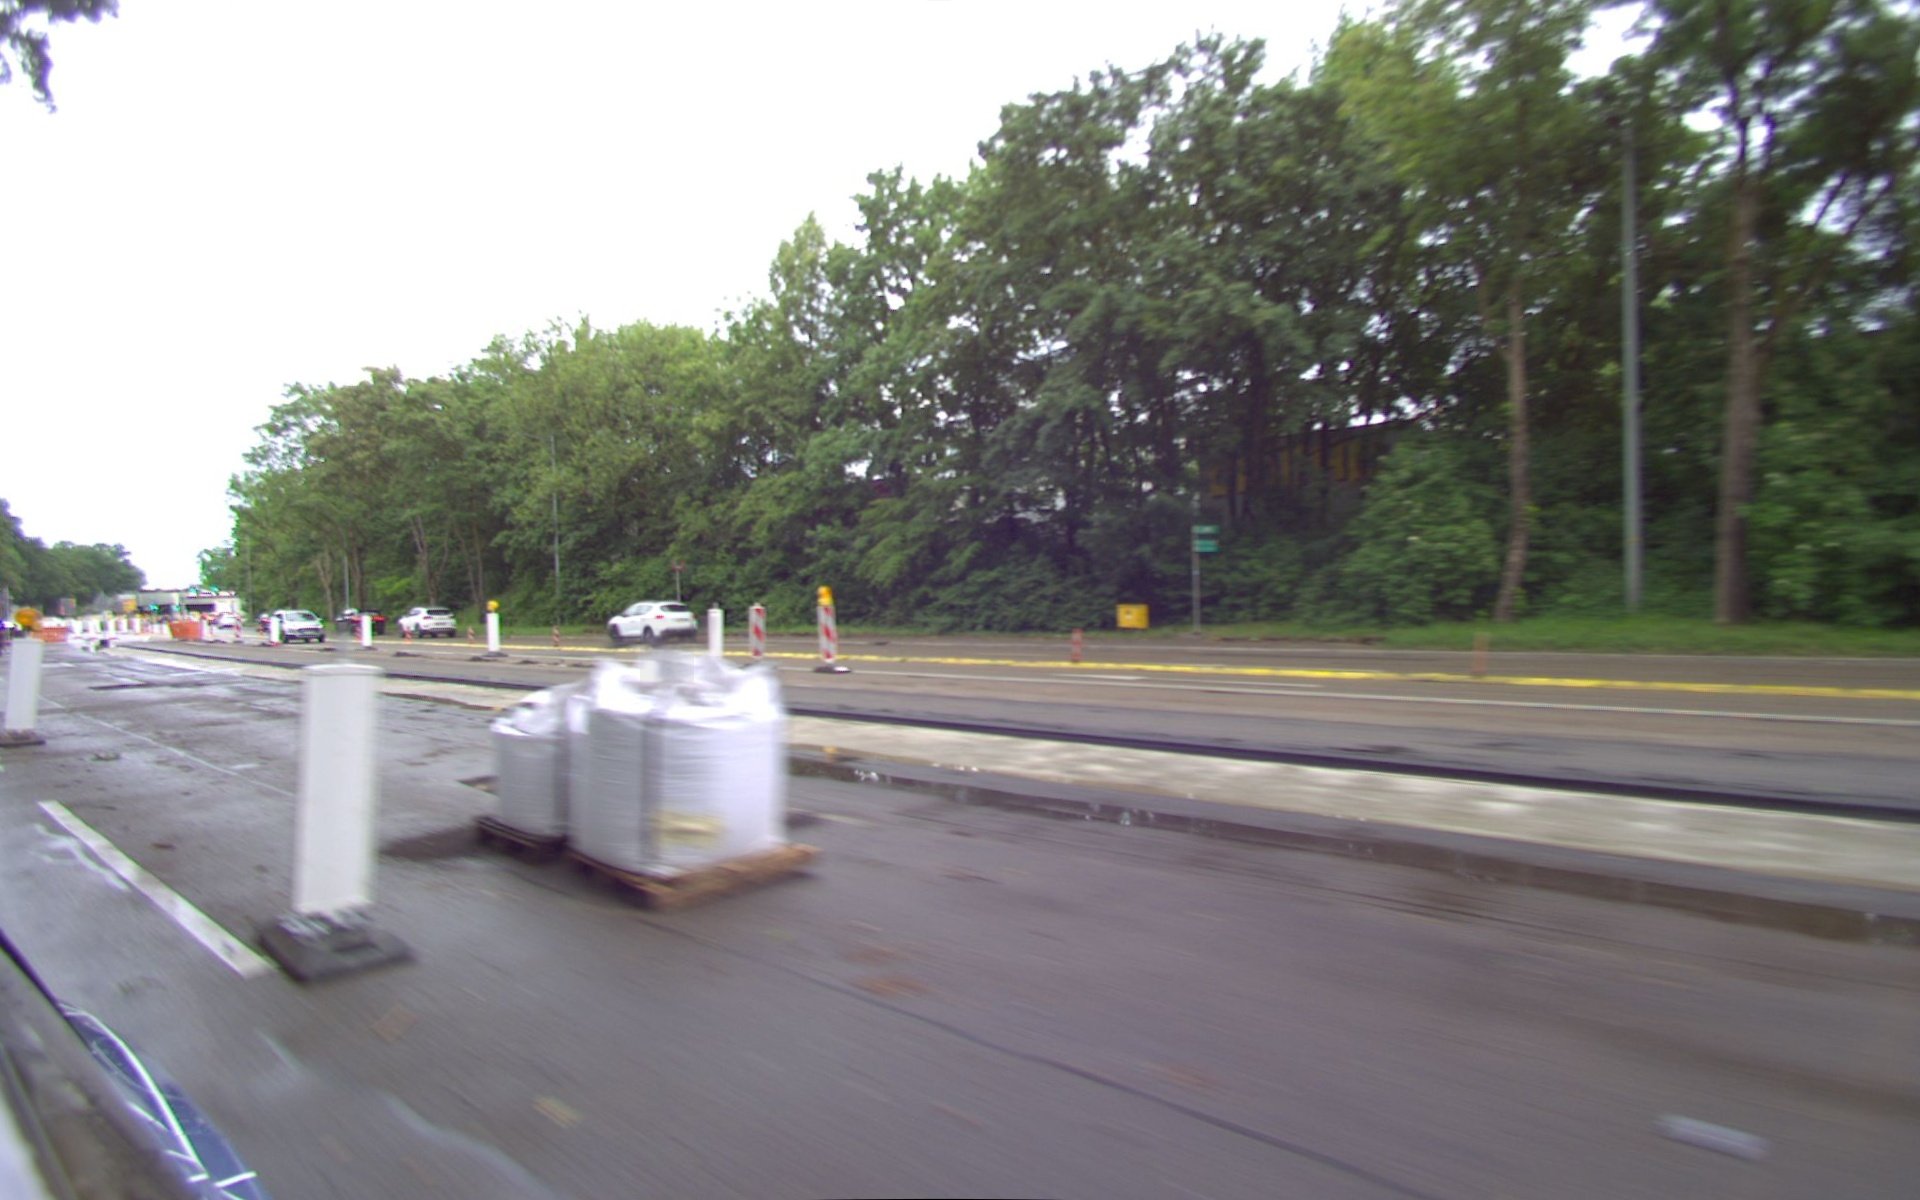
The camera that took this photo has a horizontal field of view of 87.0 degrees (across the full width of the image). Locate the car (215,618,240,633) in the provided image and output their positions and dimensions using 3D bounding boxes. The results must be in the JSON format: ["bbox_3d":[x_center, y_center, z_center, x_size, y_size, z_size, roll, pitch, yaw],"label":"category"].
[{"bbox_3d":[-75.177,2.592,103.888,1.762,1.437,4.476,-1,-1,-40],"label":"car"}]

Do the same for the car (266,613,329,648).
[{"bbox_3d":[-32.608,1.499,49.746,3.862,1.596,1.769,-1,0,44],"label":"car"}]

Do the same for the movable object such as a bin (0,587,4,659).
[{"bbox_3d":[-42.370,1.012,43.445,1.783,3.008,5.248,-1,-1,-45],"label":"movable object such as a bin"}]

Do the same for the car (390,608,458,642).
[{"bbox_3d":[-28.772,1.336,54.282,4.377,1.764,1.758,-2,-1,41],"label":"car"}]

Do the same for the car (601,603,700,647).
[{"bbox_3d":[-11.640,0.949,37.920,4.156,1.553,1.649,-2,-2,42],"label":"car"}]

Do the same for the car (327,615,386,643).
[{"bbox_3d":[-38.033,1.824,63.748,4.912,1.676,1.758,-2,-2,41],"label":"car"}]

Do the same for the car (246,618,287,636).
[{"bbox_3d":[-57.644,2.250,84.130,4.681,1.463,1.765,-2,-1,42],"label":"car"}]

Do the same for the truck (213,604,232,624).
[{"bbox_3d":[-151.071,2.883,207.320,3.102,3.860,9.668,0,0,-36],"label":"truck"}]

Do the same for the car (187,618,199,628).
[{"bbox_3d":[-135.589,4.041,178.998,1.653,1.626,3.777,0,-1,-37],"label":"car"}]
